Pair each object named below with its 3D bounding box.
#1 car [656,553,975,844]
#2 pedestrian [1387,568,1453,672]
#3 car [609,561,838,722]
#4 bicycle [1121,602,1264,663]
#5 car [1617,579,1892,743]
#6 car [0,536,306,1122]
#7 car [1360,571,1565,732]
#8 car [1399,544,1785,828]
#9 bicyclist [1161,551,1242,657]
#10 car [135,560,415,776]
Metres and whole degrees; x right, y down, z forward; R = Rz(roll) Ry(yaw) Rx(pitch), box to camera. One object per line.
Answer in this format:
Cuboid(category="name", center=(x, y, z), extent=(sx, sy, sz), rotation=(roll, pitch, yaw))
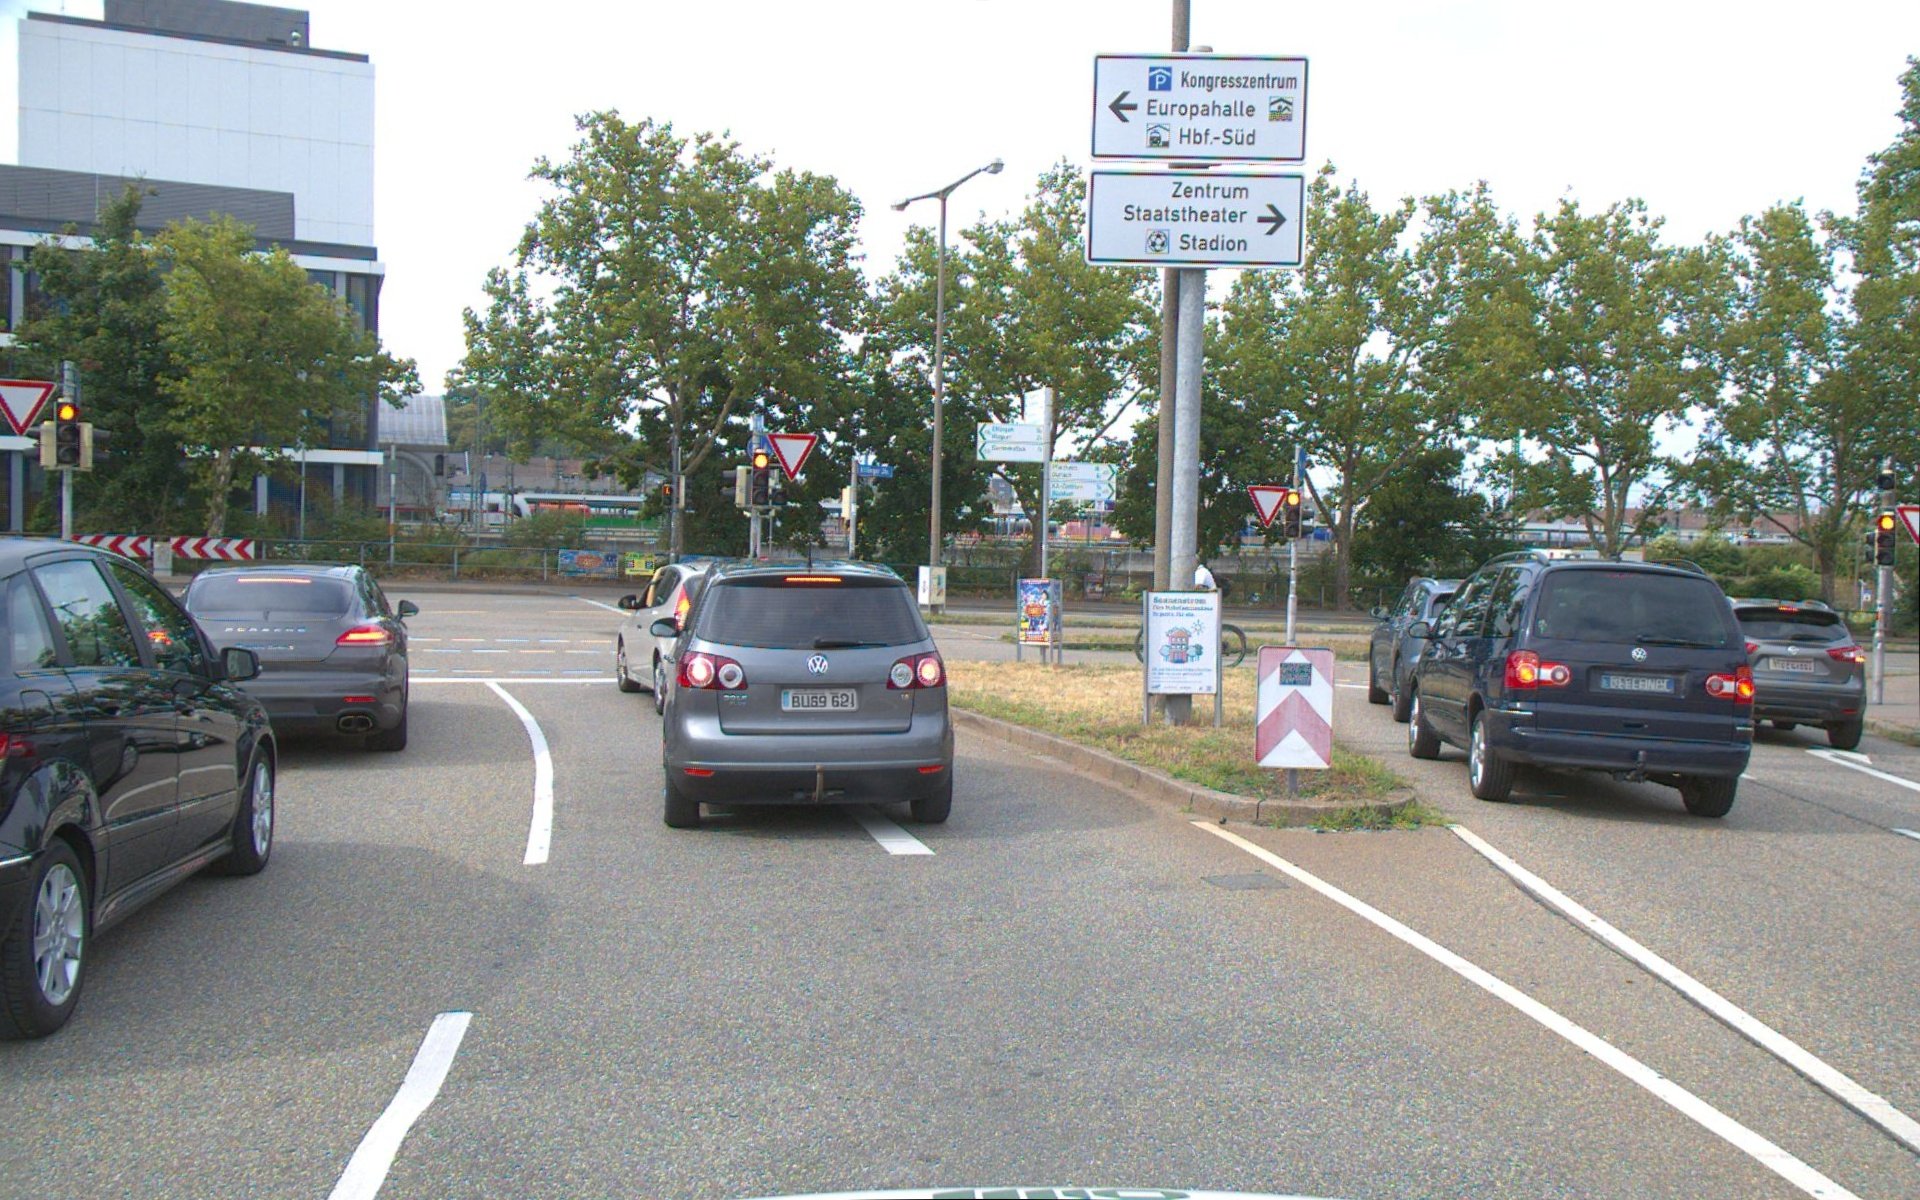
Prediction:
Cuboid(category="car", center=(-1.143, 0.502, 11.093), extent=(1.710, 1.573, 4.071), rotation=(1, 1, -11))
Cuboid(category="pedestrian", center=(8.019, 0.339, 28.889), extent=(1.025, 1.740, 0.854), rotation=(2, 1, 14))
Cuboid(category="car", center=(-2.641, 0.351, 17.691), extent=(1.714, 1.508, 4.060), rotation=(1, 1, -19))
Cuboid(category="bicycle", center=(3.828, 0.538, 27.312), extent=(2.189, 0.969, 0.809), rotation=(0, 1, -13))
Cuboid(category="car", center=(9.359, 0.640, 19.858), extent=(1.713, 1.671, 4.141), rotation=(3, 1, 8))
Cuboid(category="car", center=(-3.879, 0.572, 6.440), extent=(1.725, 1.602, 4.026), rotation=(1, 2, -11))
Cuboid(category="car", center=(5.840, 0.535, 19.669), extent=(1.655, 1.612, 4.160), rotation=(3, 1, 8))
Cuboid(category="car", center=(4.655, 0.540, 12.834), extent=(1.713, 1.754, 4.141), rotation=(3, 1, 6))
Cuboid(category="bicyclist", center=(3.993, 0.058, 27.340), extent=(1.093, 1.726, 0.811), rotation=(0, 1, -13))
Cuboid(category="car", center=(-5.510, 0.425, 13.827), extent=(1.791, 1.438, 4.752), rotation=(1, 1, -18))
